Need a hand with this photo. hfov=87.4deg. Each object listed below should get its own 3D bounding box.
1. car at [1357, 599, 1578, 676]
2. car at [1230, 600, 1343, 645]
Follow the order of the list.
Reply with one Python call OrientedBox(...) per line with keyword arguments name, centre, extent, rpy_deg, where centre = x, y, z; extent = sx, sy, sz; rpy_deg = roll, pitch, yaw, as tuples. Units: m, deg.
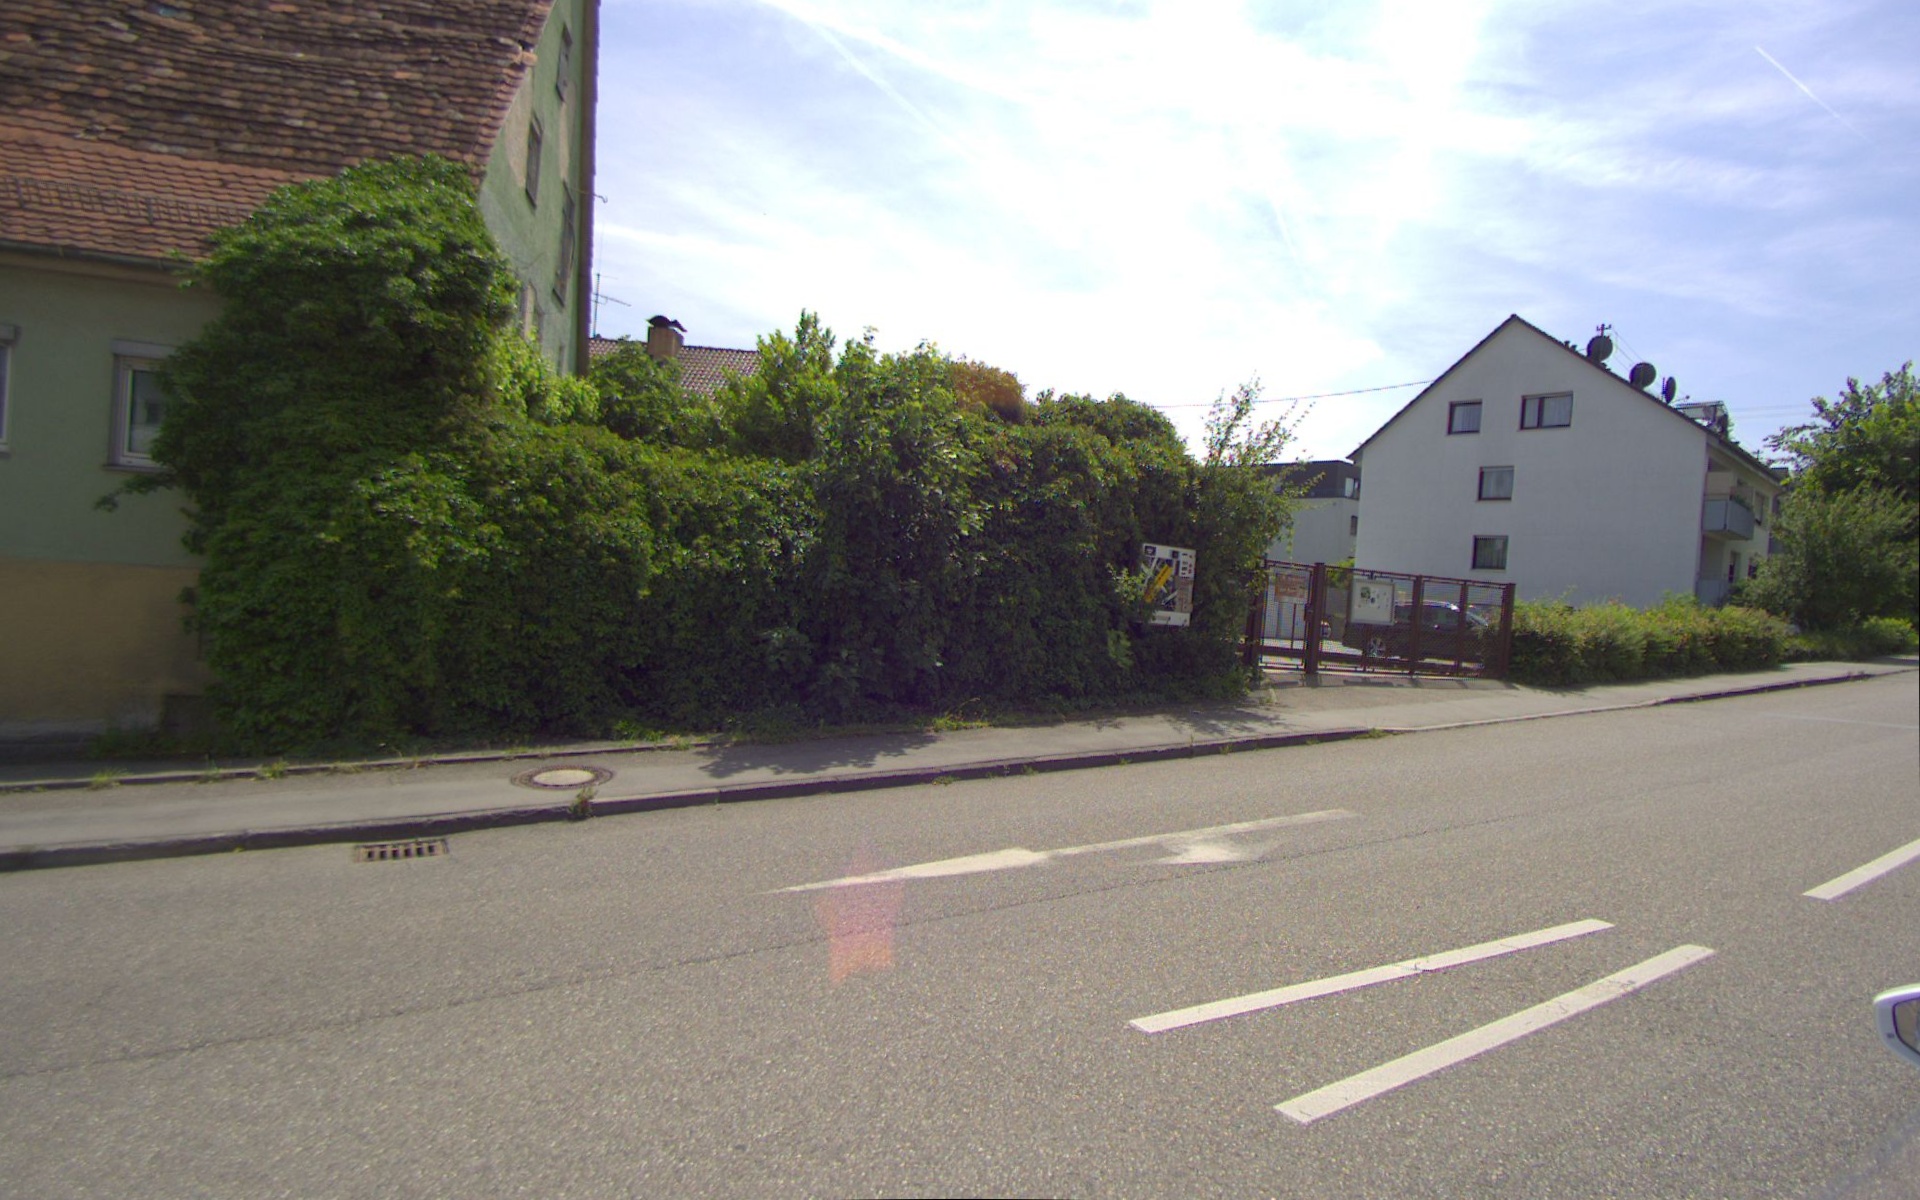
OrientedBox(name="car", centre=(11.310, 0.775, 22.556), extent=(1.984, 1.406, 3.952), rpy_deg=(1, 2, -41))
OrientedBox(name="car", centre=(14.222, 0.959, 43.963), extent=(1.982, 1.483, 4.234), rpy_deg=(6, 1, -36))
